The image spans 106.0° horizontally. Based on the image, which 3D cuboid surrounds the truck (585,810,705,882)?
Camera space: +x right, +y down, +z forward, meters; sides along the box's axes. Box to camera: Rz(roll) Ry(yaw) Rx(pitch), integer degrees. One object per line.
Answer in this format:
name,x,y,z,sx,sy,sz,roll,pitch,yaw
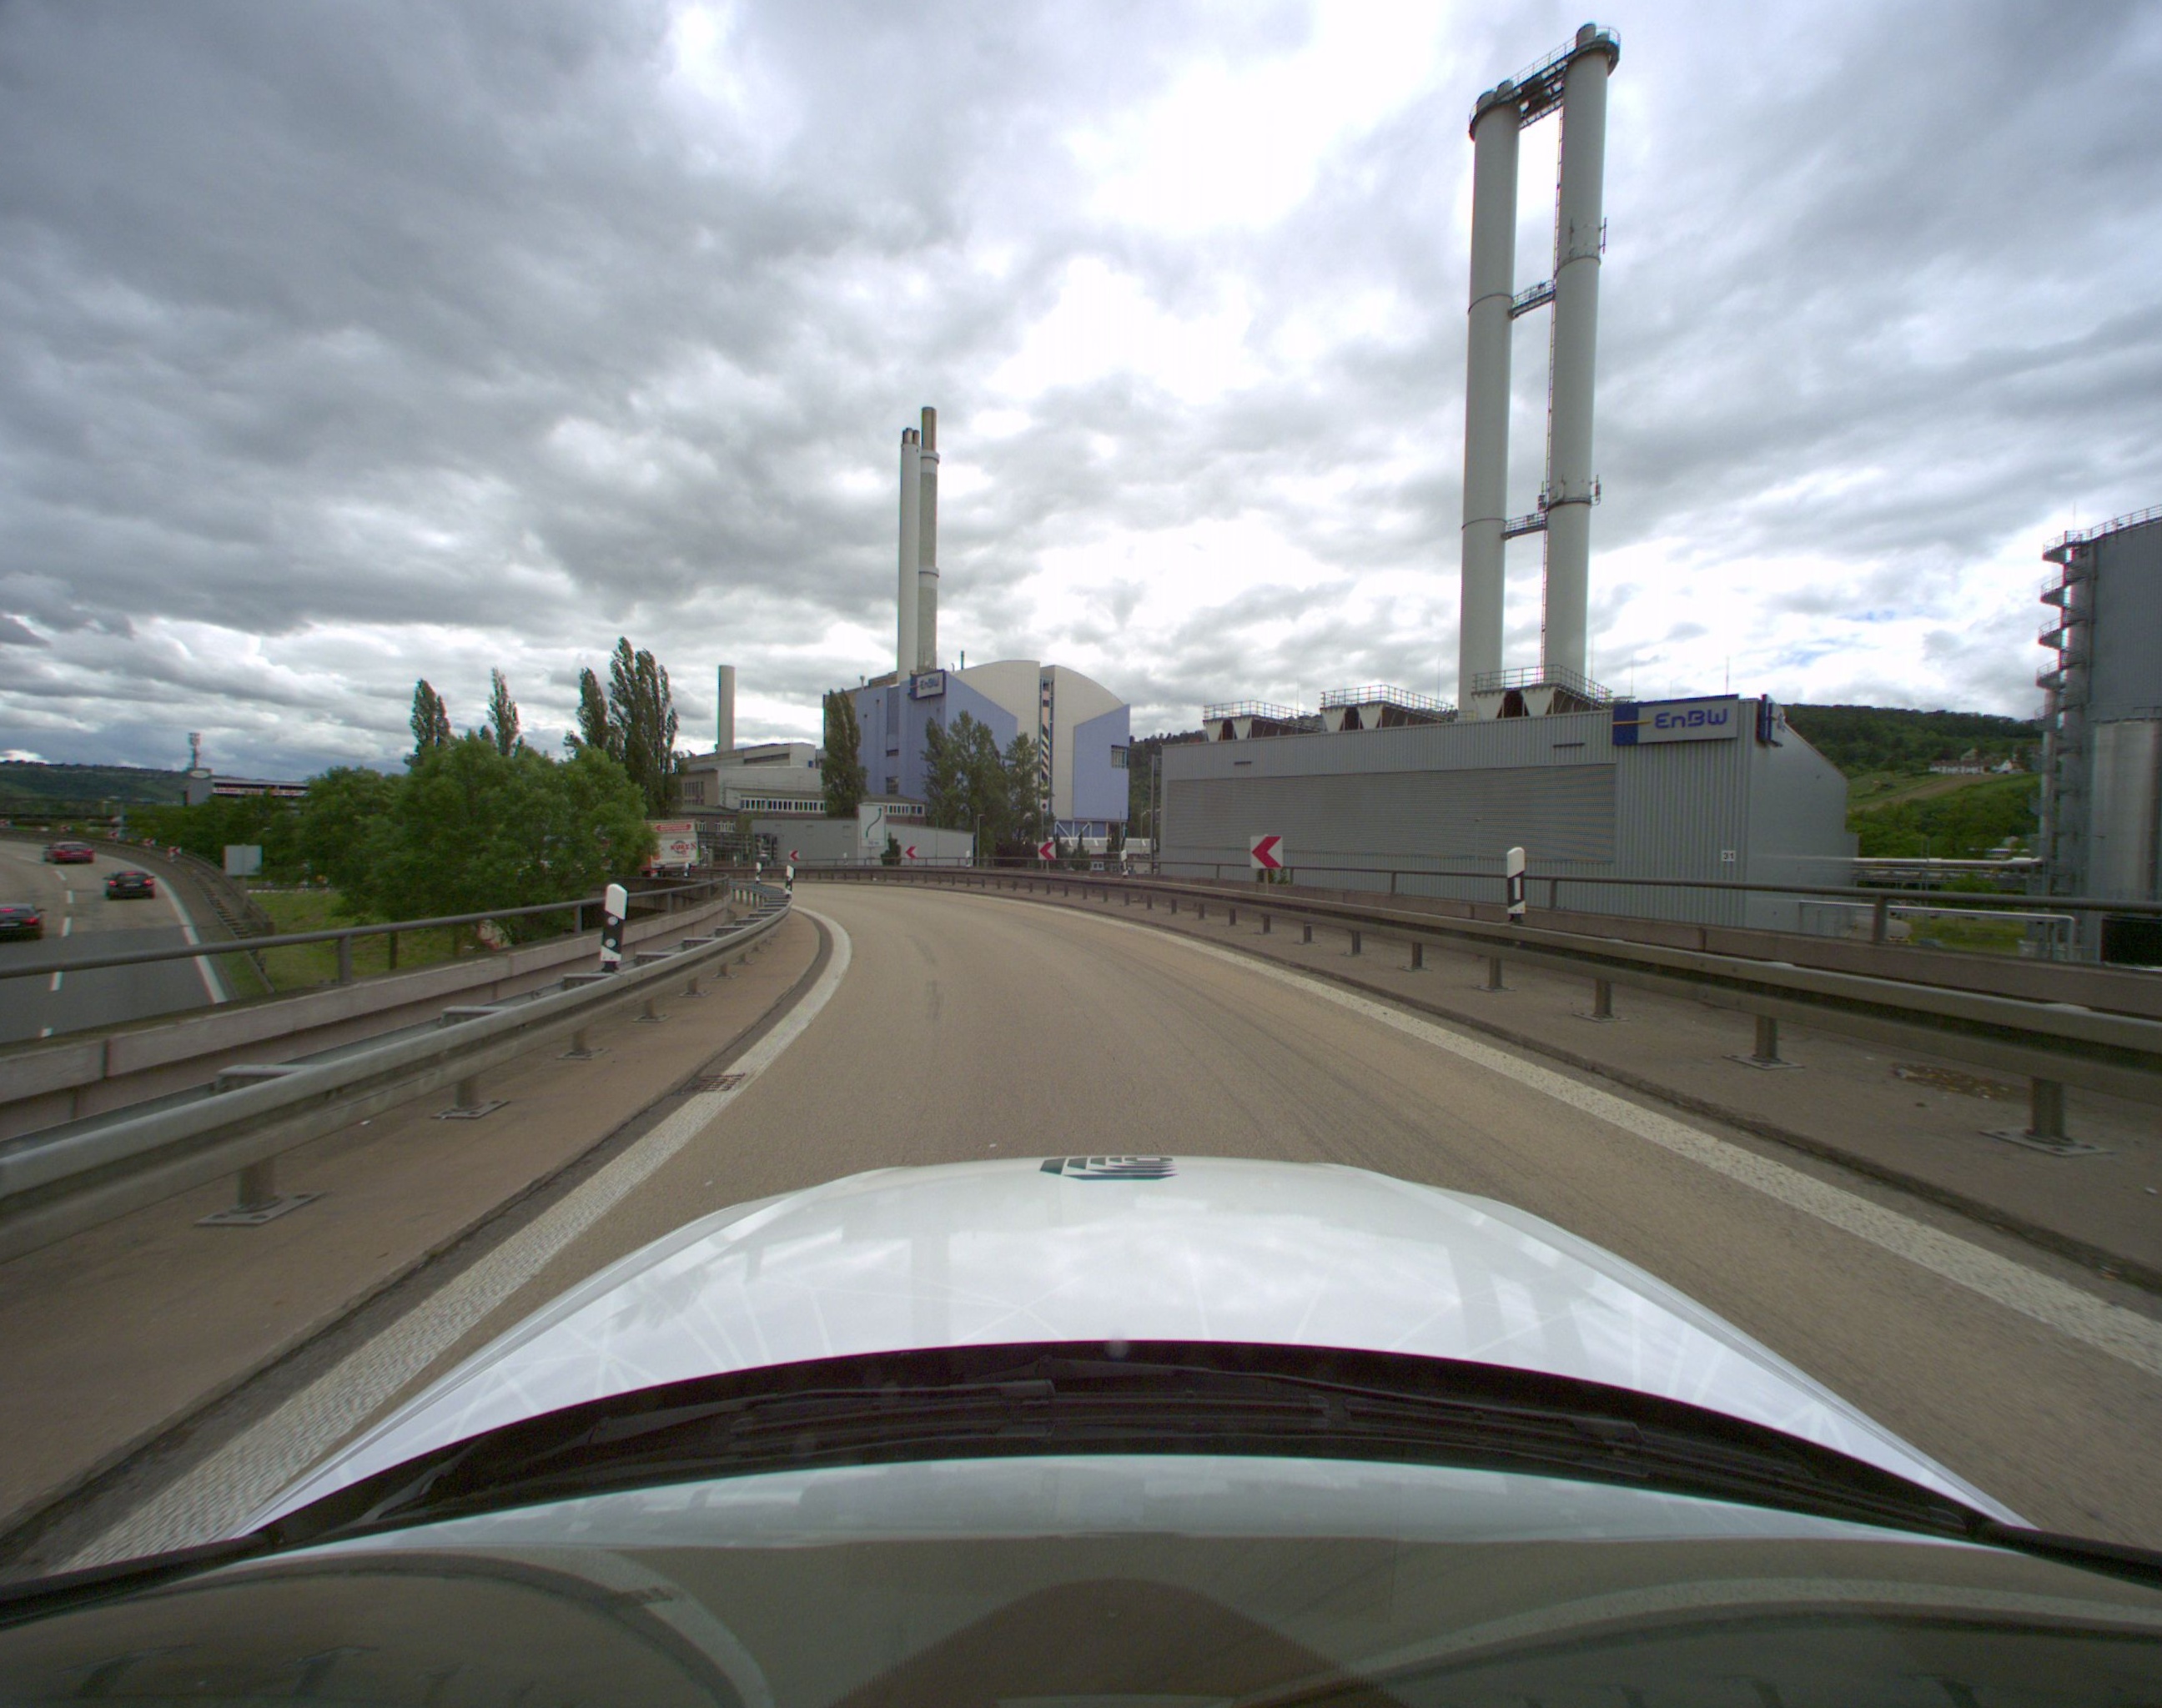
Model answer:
truck,-24.286,-0.458,45.195,7.826,3.673,3.080,1,1,39
